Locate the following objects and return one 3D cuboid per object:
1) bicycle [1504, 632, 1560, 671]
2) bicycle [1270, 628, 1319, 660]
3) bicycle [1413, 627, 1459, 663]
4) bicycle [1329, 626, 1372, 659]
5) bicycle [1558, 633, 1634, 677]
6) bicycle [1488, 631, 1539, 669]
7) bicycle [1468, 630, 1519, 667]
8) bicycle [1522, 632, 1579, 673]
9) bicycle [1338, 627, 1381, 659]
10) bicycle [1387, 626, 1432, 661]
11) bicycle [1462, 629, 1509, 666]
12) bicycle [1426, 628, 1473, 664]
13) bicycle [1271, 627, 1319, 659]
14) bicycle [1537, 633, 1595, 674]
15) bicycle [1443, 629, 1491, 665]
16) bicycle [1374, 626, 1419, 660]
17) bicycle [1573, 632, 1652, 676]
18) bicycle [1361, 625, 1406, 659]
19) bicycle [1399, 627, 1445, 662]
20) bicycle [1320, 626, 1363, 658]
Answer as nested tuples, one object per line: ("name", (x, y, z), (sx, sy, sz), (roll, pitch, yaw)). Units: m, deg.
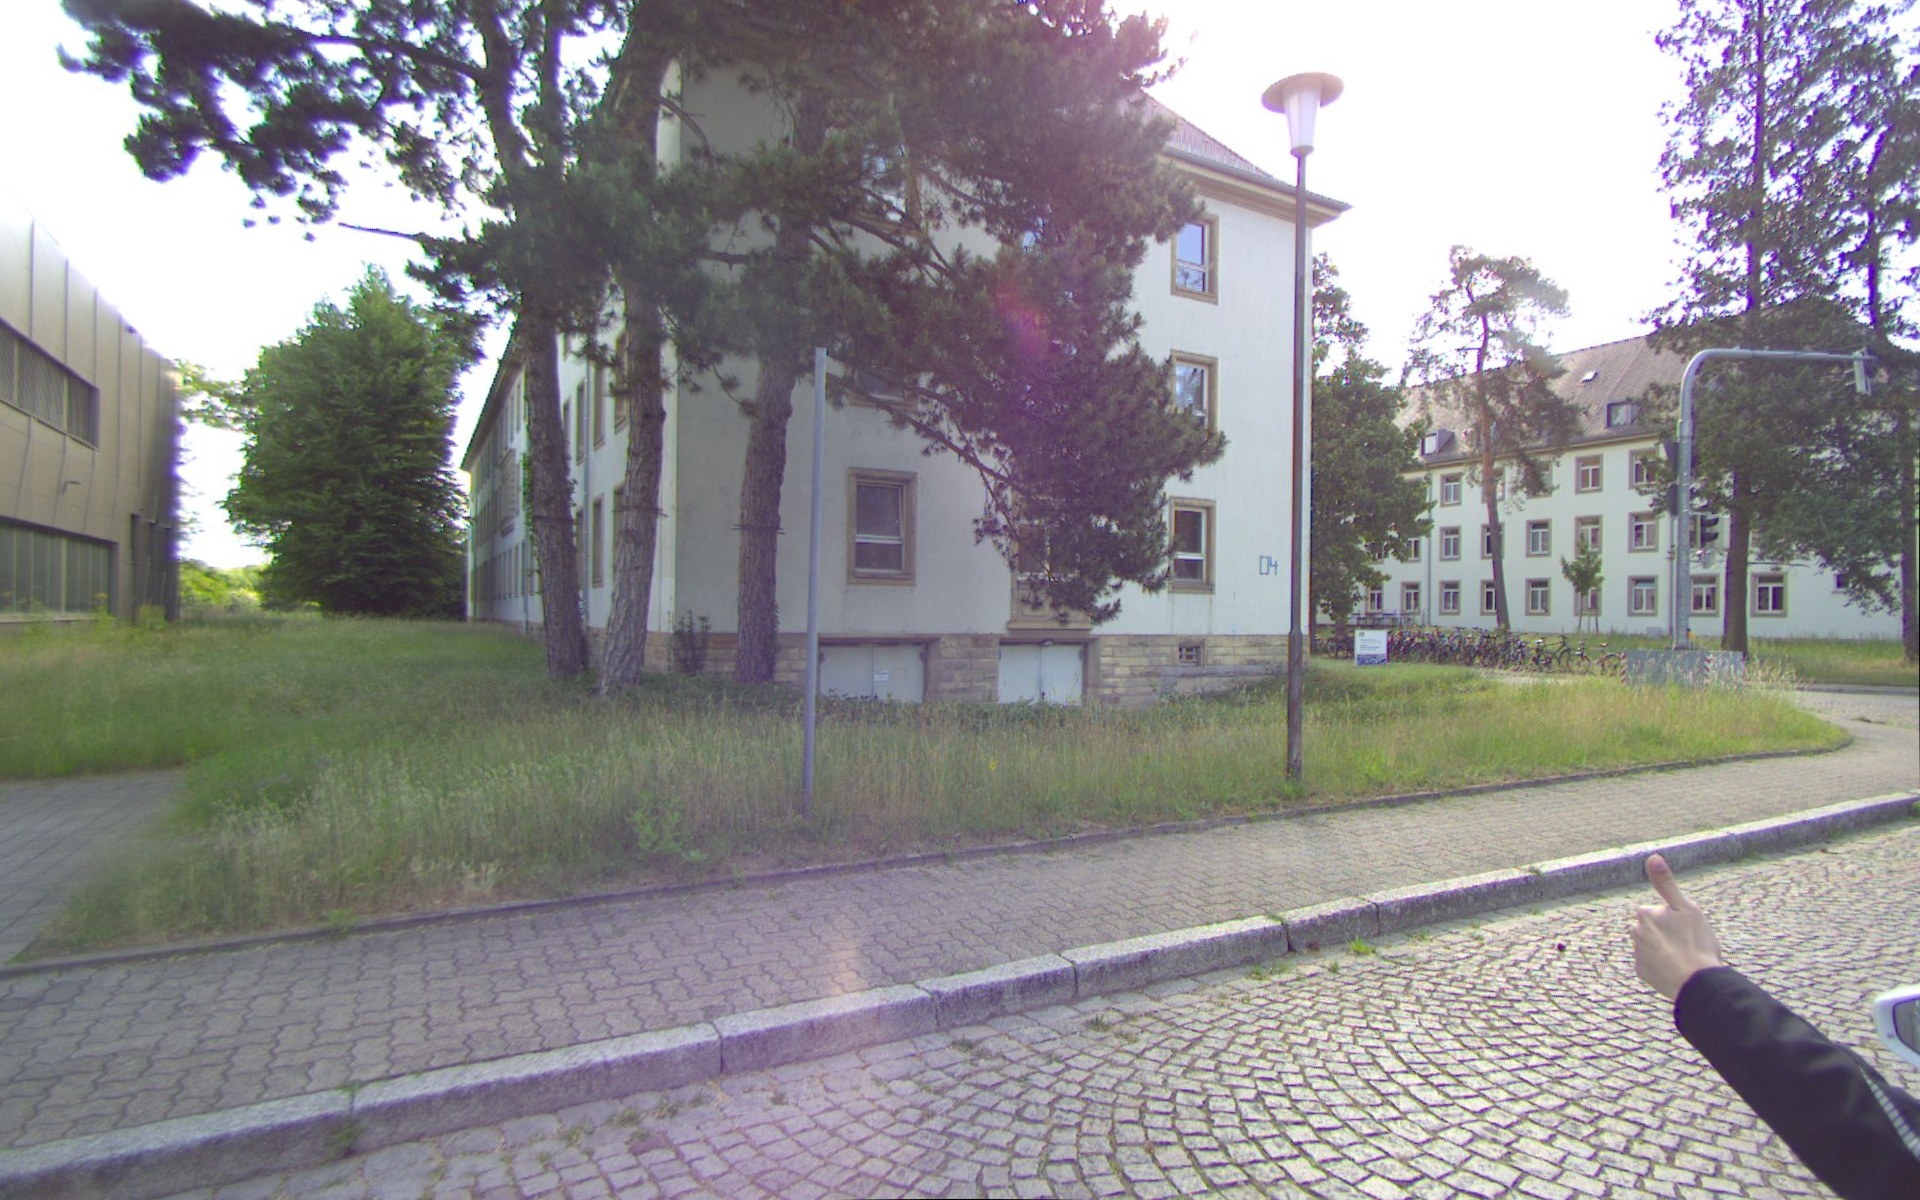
("bicycle", (18.462, 1.642, 32.414), (2.080, 1.237, 0.630), (1, -1, -31))
("bicycle", (13.204, 1.726, 39.708), (1.794, 1.237, 0.515), (0, -1, 25))
("bicycle", (17.100, 1.606, 36.081), (1.954, 1.237, 0.511), (1, -1, -31))
("bicycle", (15.291, 1.654, 39.329), (1.914, 1.237, 0.511), (1, -1, -31))
("bicycle", (18.962, 1.609, 29.989), (0.627, 1.237, 1.853), (1, -1, -29))
("bicycle", (18.372, 1.640, 33.354), (1.966, 1.237, 0.569), (1, -1, -31))
("bicycle", (18.118, 1.636, 34.071), (2.005, 1.237, 0.576), (1, -1, -31))
("bicycle", (18.751, 1.649, 31.884), (2.099, 1.237, 0.630), (1, -1, -31))
("bicycle", (15.500, 1.659, 38.955), (1.914, 1.237, 0.511), (1, -1, -31))
("bicycle", (16.554, 1.591, 37.011), (1.914, 1.237, 0.511), (1, -1, -31))
("bicycle", (18.197, 1.635, 34.783), (1.877, 1.237, 0.545), (1, -1, -31))
("bicycle", (17.358, 1.616, 35.632), (1.954, 1.237, 0.511), (1, -1, -31))
("bicycle", (13.442, 1.724, 40.312), (1.794, 1.237, 0.515), (0, -1, 25))
("bicycle", (18.994, 1.654, 31.467), (2.089, 1.237, 0.630), (1, -1, -31))
("bicycle", (17.713, 1.625, 35.091), (1.992, 1.237, 0.511), (1, -1, -31))
("bicycle", (16.306, 1.585, 37.498), (1.914, 1.237, 0.511), (1, -1, -31))
("bicycle", (19.620, 1.602, 30.258), (0.627, 1.237, 1.936), (1, -1, -29))
("bicycle", (16.033, 1.579, 38.024), (1.914, 1.237, 0.511), (1, -1, -31))
("bicycle", (16.815, 1.597, 36.522), (1.931, 1.237, 0.511), (1, -1, -31))
("bicycle", (15.078, 1.649, 39.723), (1.914, 1.237, 0.511), (1, -1, -31))
